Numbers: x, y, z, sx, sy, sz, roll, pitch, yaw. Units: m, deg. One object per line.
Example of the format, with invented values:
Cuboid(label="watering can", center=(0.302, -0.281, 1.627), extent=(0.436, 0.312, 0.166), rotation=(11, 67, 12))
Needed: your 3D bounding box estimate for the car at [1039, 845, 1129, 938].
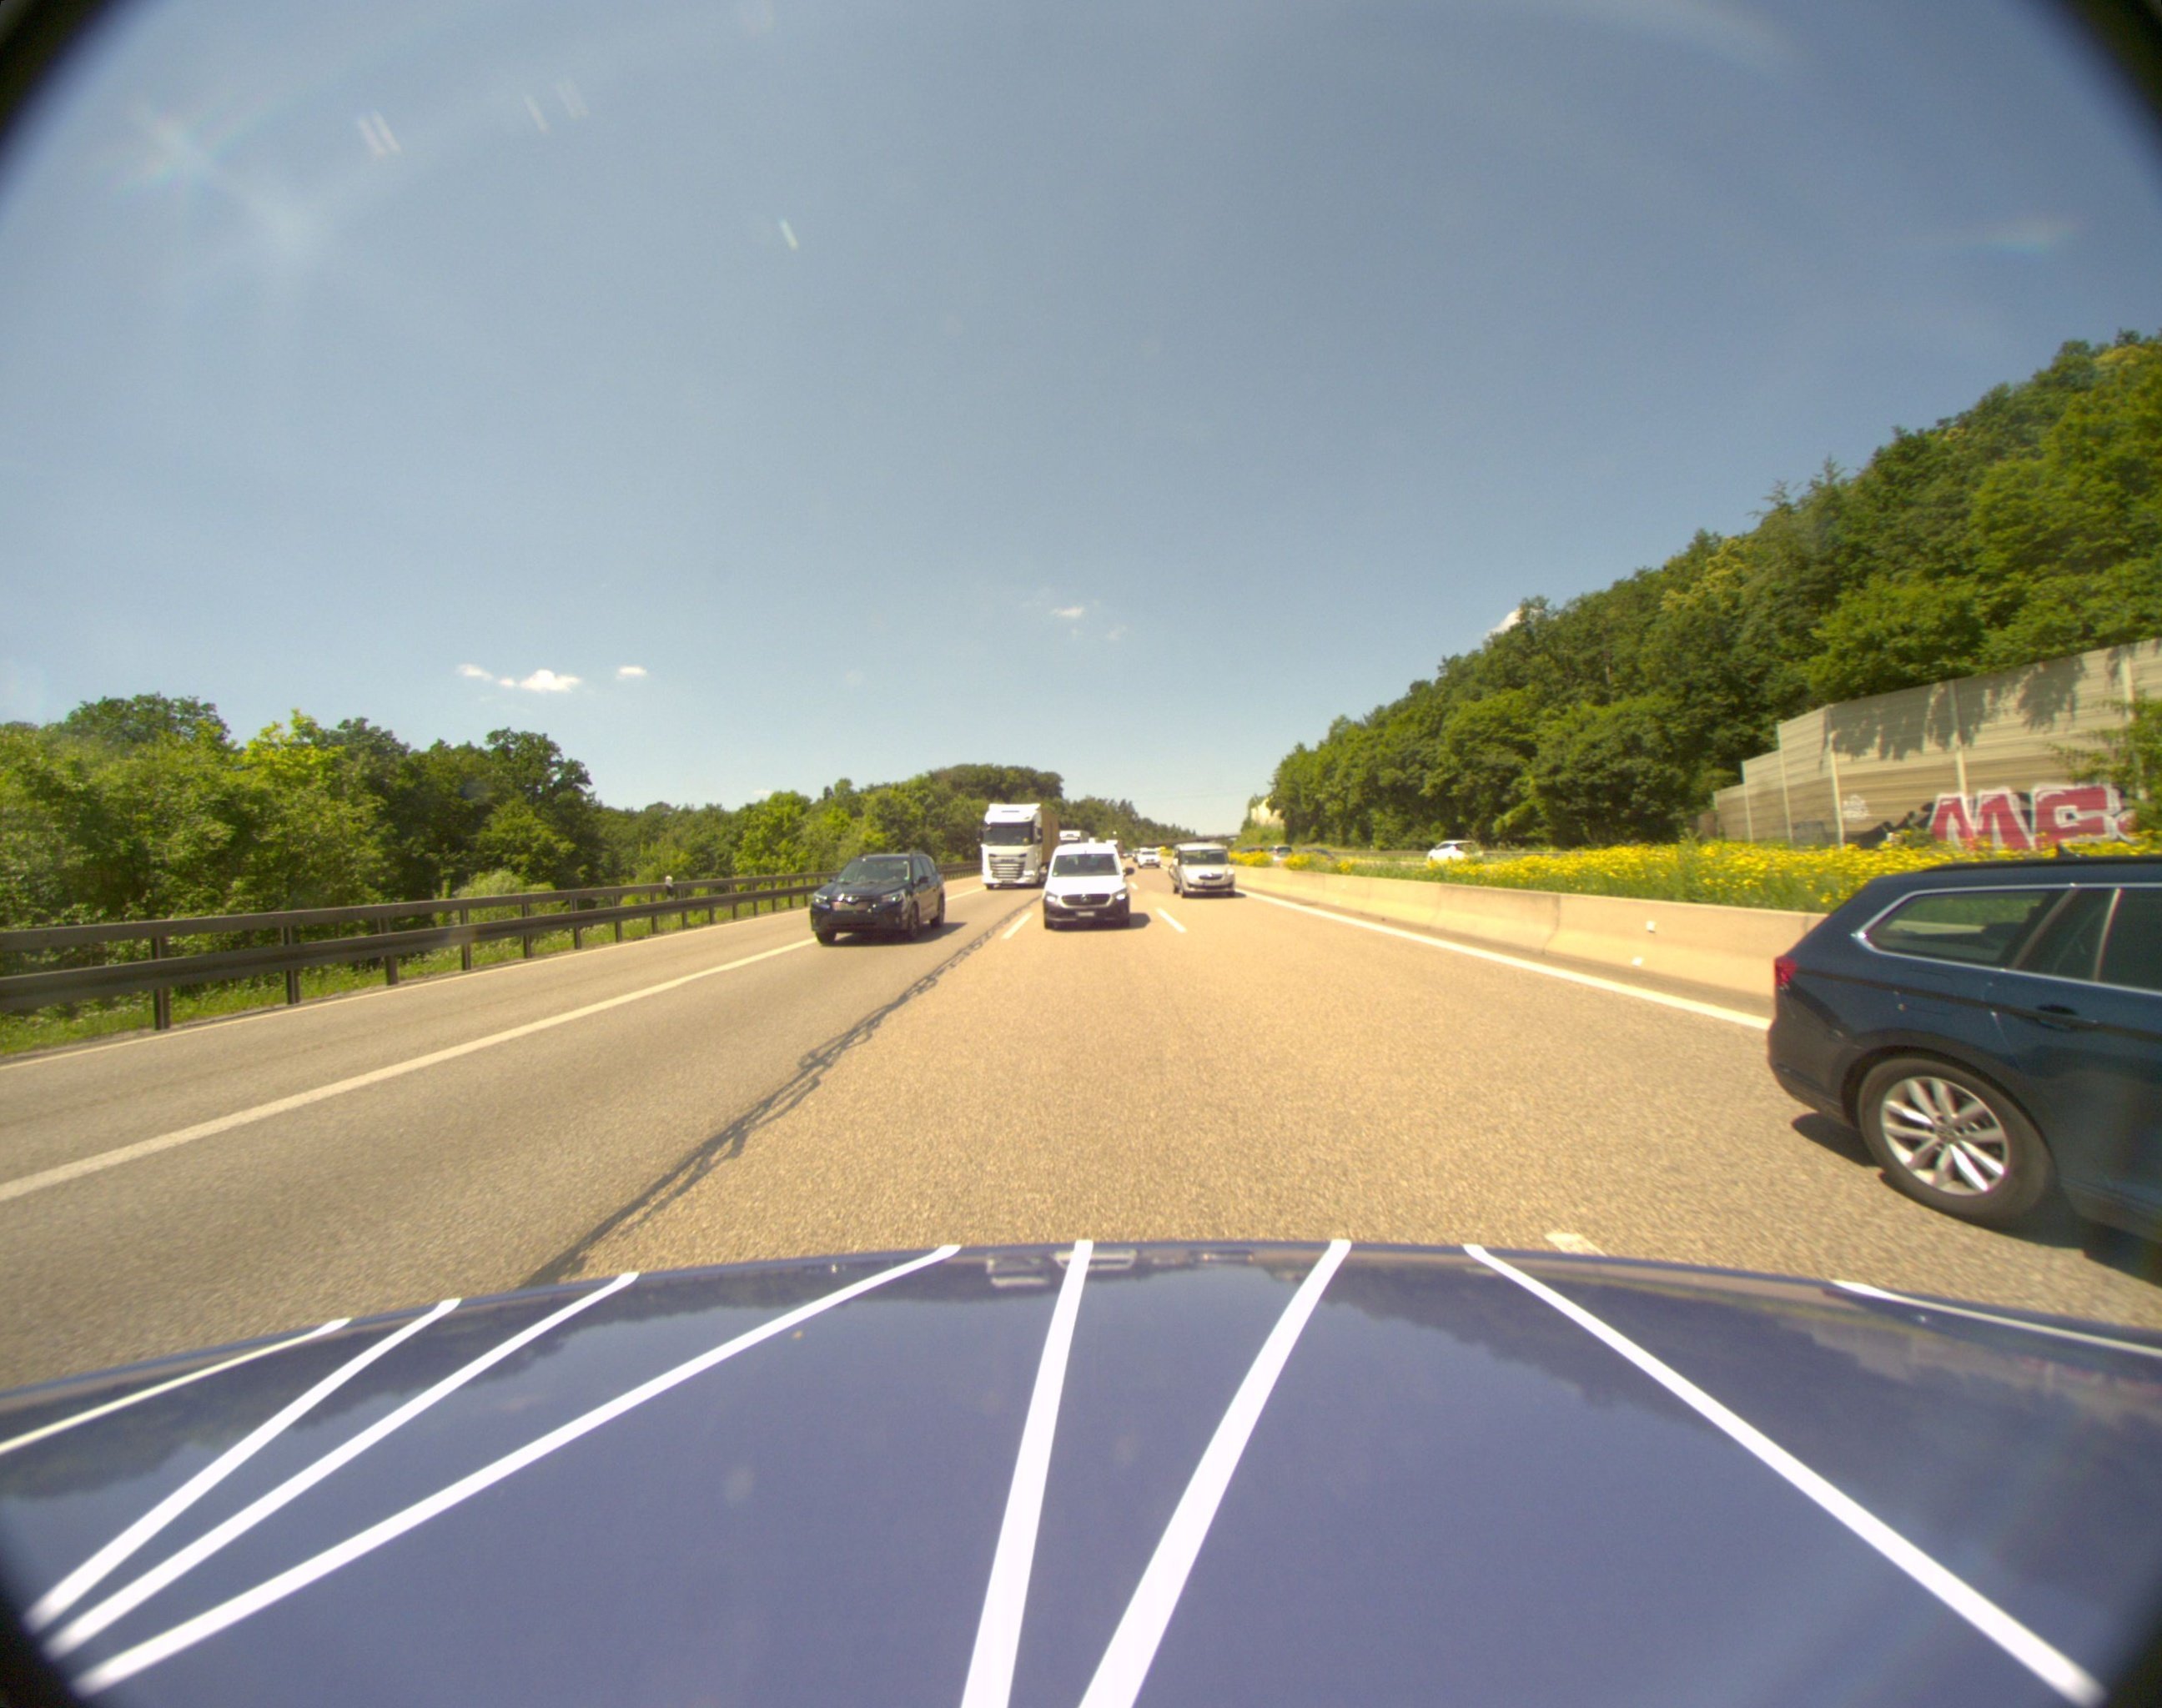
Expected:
Cuboid(label="car", center=(0.127, 0.722, 17.181), extent=(1.729, 1.760, 4.313), rotation=(-2, 1, 2))

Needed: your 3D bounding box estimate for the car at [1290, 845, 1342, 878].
Cuboid(label="car", center=(12.565, 0.368, 40.806), extent=(1.646, 1.641, 3.712), rotation=(-2, 1, 1))

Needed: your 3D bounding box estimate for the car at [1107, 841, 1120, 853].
Cuboid(label="car", center=(7.442, -1.623, 175.161), extent=(2.721, 2.534, 5.940), rotation=(-2, 1, 1))

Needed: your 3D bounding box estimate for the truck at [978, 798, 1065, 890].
Cuboid(label="truck", center=(-2.853, -0.582, 42.402), extent=(2.789, 4.145, 16.268), rotation=(-1, 1, 3))

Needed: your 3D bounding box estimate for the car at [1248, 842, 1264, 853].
Cuboid(label="car", center=(28.389, -1.081, 123.122), extent=(1.731, 1.625, 4.000), rotation=(-2, 1, 2))

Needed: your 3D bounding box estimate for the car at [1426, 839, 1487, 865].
Cuboid(label="car", center=(22.851, -0.130, 46.403), extent=(1.634, 1.474, 4.313), rotation=(-2, 0, 2))

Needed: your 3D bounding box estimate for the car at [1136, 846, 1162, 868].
Cuboid(label="car", center=(5.987, 0.237, 67.546), extent=(1.998, 1.827, 4.000), rotation=(-2, 1, 1))

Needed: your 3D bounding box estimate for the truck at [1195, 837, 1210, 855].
Cuboid(label="truck", center=(24.369, -1.684, 152.755), extent=(1.998, 3.486, 6.026), rotation=(-2, 0, 2))

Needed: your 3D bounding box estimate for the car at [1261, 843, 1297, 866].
Cuboid(label="car", center=(16.923, 0.004, 65.203), extent=(1.998, 1.888, 4.505), rotation=(-2, 1, 2))

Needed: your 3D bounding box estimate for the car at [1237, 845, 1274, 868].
Cuboid(label="car", center=(13.065, 0.136, 57.087), extent=(1.727, 1.614, 4.690), rotation=(-2, 0, 1))

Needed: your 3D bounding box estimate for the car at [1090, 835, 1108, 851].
Cuboid(label="car", center=(2.953, -1.762, 122.463), extent=(2.721, 2.534, 5.940), rotation=(-2, 1, 1))

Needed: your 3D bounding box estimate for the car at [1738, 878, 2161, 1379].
Cuboid(label="car", center=(4.135, 0.871, 1.427), extent=(1.737, 1.419, 4.730), rotation=(-2, 0, 1))

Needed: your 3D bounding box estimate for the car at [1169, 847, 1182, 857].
Cuboid(label="car", center=(18.832, -0.358, 151.167), extent=(1.998, 2.002, 4.000), rotation=(-2, 0, 0))

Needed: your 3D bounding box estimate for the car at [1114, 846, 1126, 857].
Cuboid(label="car", center=(6.987, -0.445, 137.900), extent=(1.902, 2.002, 3.999), rotation=(-2, 0, 0))

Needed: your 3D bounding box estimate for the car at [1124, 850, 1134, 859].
Cuboid(label="car", center=(10.835, 0.110, 172.609), extent=(1.998, 2.002, 4.000), rotation=(-2, 0, 1))

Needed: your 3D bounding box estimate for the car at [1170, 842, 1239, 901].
Cuboid(label="car", center=(4.127, 0.542, 26.002), extent=(1.780, 1.833, 4.000), rotation=(-2, 0, 2))

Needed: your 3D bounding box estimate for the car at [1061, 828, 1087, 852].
Cuboid(label="car", center=(-0.756, -1.627, 86.822), extent=(2.721, 2.534, 5.940), rotation=(-2, 1, 1))

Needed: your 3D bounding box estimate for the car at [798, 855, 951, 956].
Cuboid(label="car", center=(-4.004, 0.925, 15.508), extent=(1.816, 1.658, 4.203), rotation=(-2, 1, 2))
